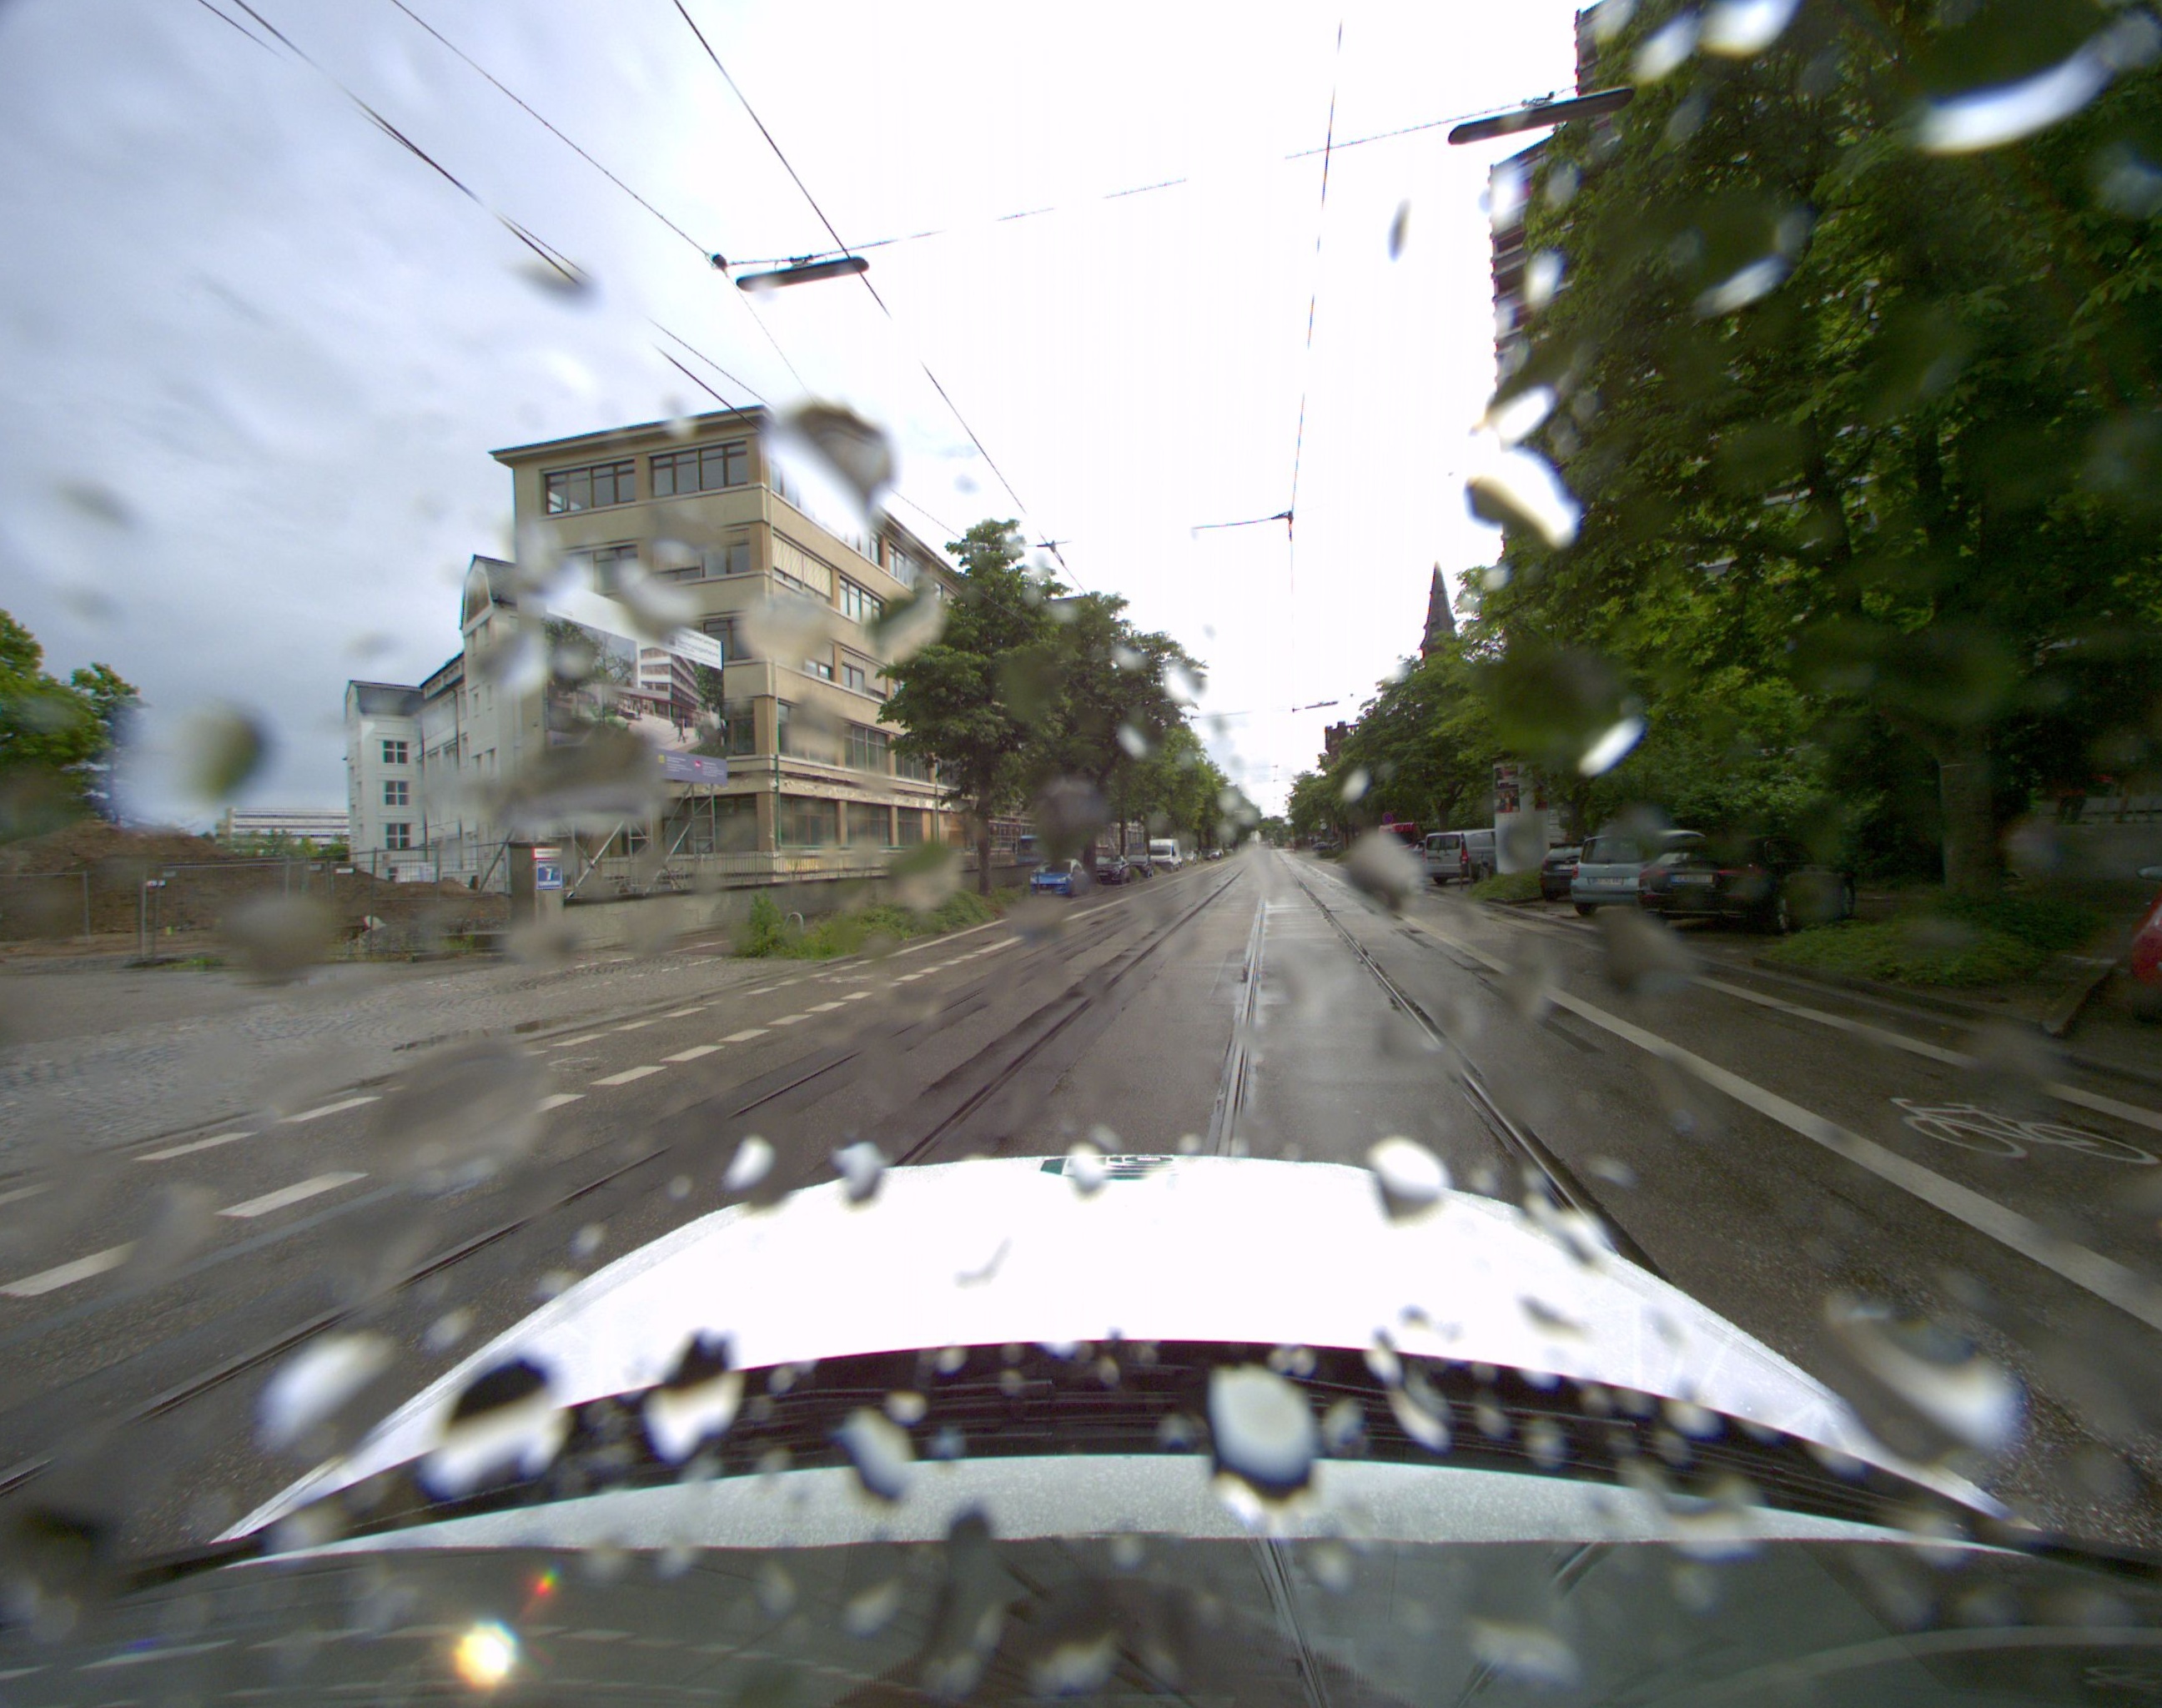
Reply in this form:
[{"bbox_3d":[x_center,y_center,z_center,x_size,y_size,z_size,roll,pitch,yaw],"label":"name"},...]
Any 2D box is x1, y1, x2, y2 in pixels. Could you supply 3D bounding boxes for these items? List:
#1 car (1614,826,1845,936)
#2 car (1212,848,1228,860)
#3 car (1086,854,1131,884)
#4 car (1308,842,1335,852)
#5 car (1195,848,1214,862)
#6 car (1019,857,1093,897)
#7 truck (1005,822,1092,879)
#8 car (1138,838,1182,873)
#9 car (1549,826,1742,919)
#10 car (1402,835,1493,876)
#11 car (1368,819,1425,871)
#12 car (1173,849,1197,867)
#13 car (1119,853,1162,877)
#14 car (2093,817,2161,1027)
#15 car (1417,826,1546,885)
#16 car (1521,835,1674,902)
[{"bbox_3d":[10.319,0.352,12.923,3.663,1.469,1.724,-2,0,-32],"label":"car"},{"bbox_3d":[19.702,0.026,115.571,1.844,1.638,4.016,-1,-1,15],"label":"car"},{"bbox_3d":[1.479,0.778,42.468,1.873,1.471,4.009,0,-1,8],"label":"car"},{"bbox_3d":[41.165,-1.134,139.374,4.249,1.652,2.009,-1,-1,18],"label":"car"},{"bbox_3d":[15.725,0.086,103.675,1.844,1.742,4.016,-1,-1,15],"label":"car"},{"bbox_3d":[-0.894,0.870,31.846,1.871,1.471,4.015,-1,-1,14],"label":"car"},{"bbox_3d":[-1.977,-0.153,55.460,3.209,3.527,9.948,-1,-1,14],"label":"truck"},{"bbox_3d":[5.961,0.113,60.915,2.571,2.474,6.173,-1,-1,12],"label":"car"},{"bbox_3d":[10.961,0.301,15.768,3.662,1.551,1.692,-2,0,-31],"label":"car"},{"bbox_3d":[16.579,0.051,36.808,4.062,1.565,1.767,-4,1,-33],"label":"car"},{"bbox_3d":[17.169,-0.522,44.143,2.273,2.633,5.516,-1,1,27],"label":"car"},{"bbox_3d":[10.472,0.419,81.963,1.844,1.742,4.016,-1,-1,15],"label":"car"},{"bbox_3d":[3.876,0.692,52.379,1.798,1.470,4.091,-1,0,18],"label":"car"},{"bbox_3d":[9.400,0.440,6.218,3.420,1.469,1.724,-2,1,-32],"label":"car"},{"bbox_3d":[14.453,0.028,29.360,4.660,1.896,1.919,-2,1,-31],"label":"car"},{"bbox_3d":[12.403,0.314,19.517,3.664,1.397,1.751,-2,0,-34],"label":"car"}]
